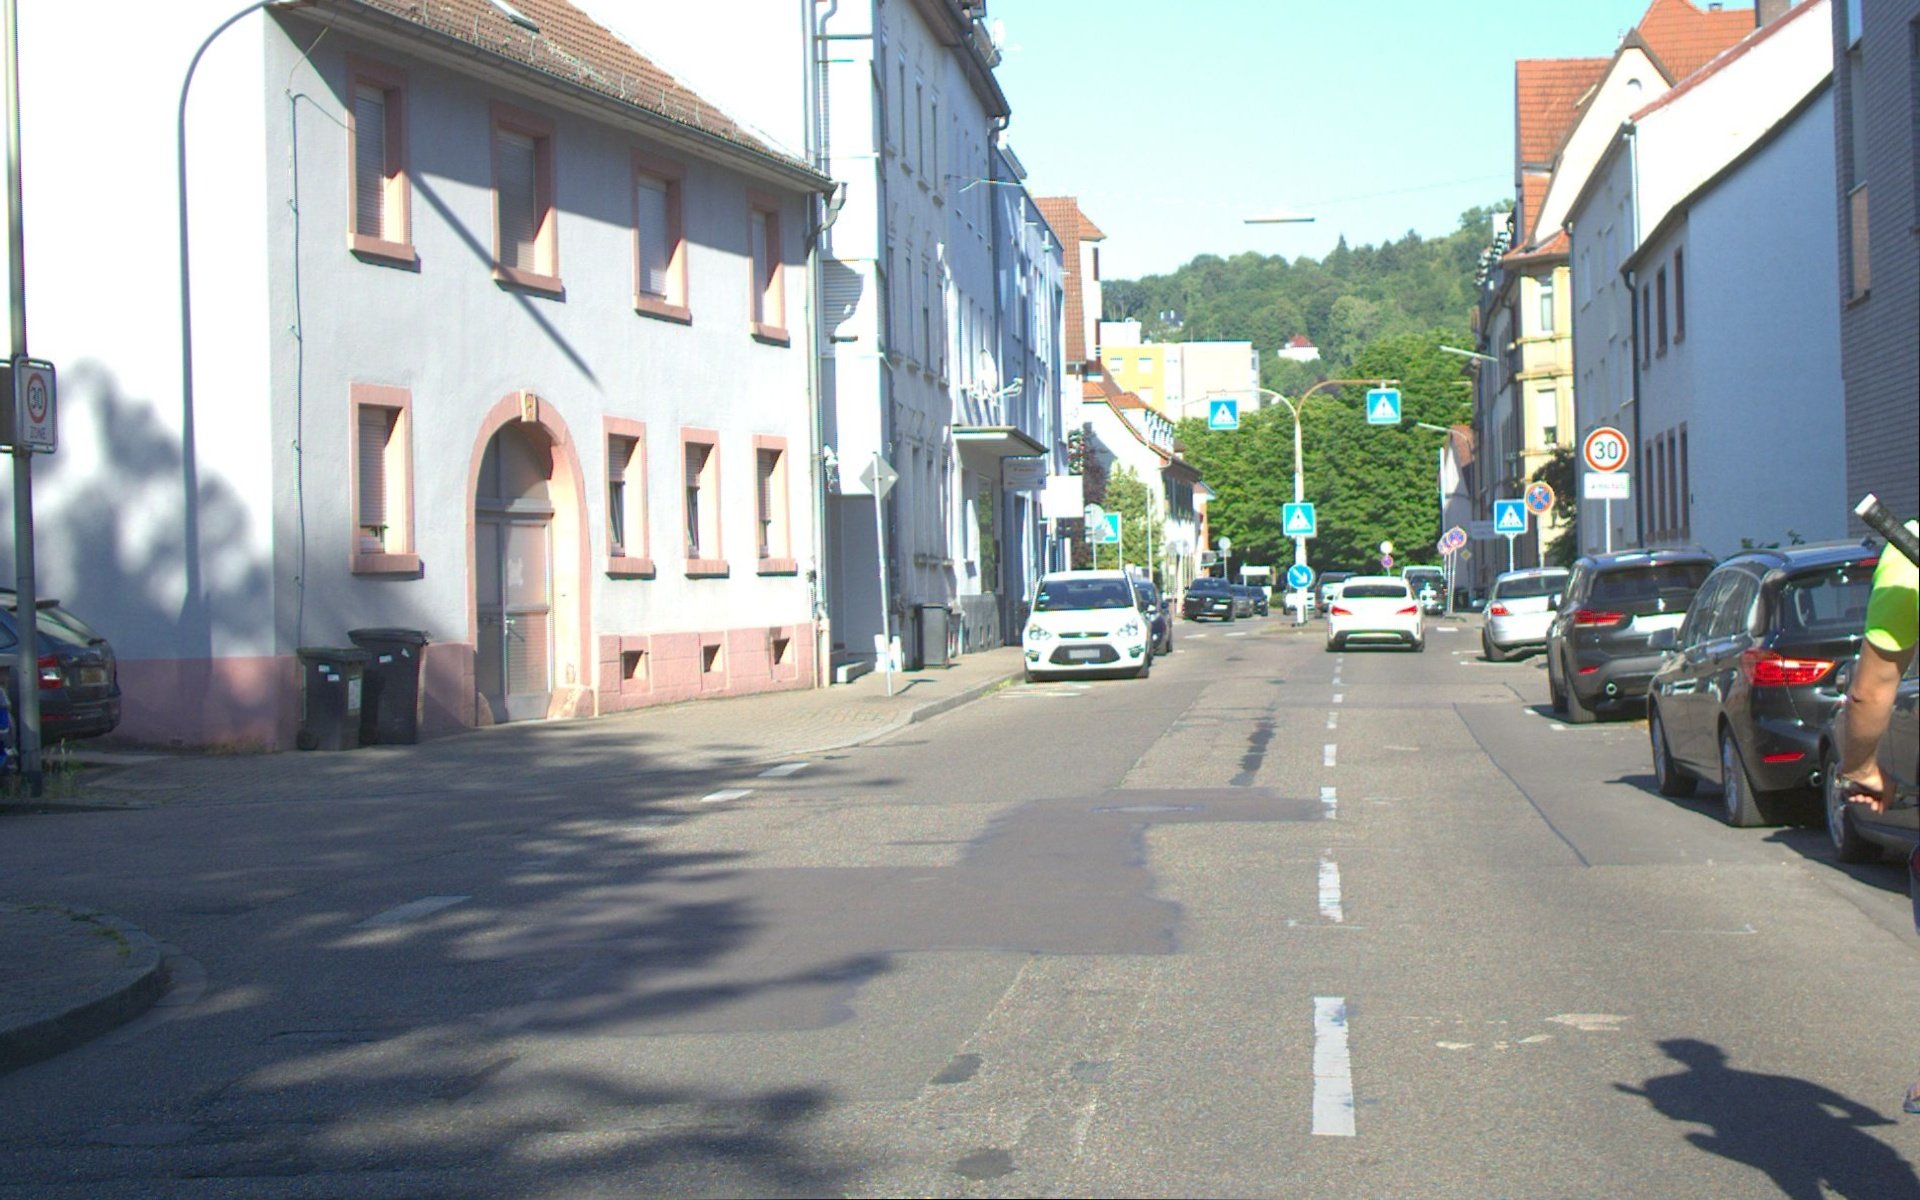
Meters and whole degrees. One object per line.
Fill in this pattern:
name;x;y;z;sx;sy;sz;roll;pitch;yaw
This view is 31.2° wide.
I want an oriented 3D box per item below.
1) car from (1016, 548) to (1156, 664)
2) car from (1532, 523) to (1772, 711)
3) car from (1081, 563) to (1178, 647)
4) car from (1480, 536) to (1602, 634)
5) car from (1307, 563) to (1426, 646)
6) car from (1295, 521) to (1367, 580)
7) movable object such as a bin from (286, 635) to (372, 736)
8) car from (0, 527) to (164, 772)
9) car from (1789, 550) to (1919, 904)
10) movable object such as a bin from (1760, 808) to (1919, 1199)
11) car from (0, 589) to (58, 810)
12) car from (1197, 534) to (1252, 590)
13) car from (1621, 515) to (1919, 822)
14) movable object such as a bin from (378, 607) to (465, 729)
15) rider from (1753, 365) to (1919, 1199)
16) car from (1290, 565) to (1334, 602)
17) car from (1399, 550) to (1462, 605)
car;1.956;0.047;52.132;1.994;1.642;5.221;-1;1;3
car;6.805;0.106;34.209;1.855;1.630;4.622;-4;1;7
car;3.418;0.074;68.608;1.731;1.494;3.959;-2;2;5
car;9.662;-0.274;57.417;1.742;1.487;4.438;-3;1;7
car;7.649;0.059;65.012;1.994;1.461;4.000;-2;1;4
car;13.250;-1.756;122.899;1.993;2.007;4.000;-2;1;-1
movable object such as a bin;-5.625;0.757;30.664;0.598;0.869;0.606;-1;1;4
car;-8.974;0.310;28.095;4.364;1.788;1.988;2;4;7
car;5.285;0.525;16.255;1.994;1.500;4.366;-1;1;5
movable object such as a bin;1.894;0.959;6.461;0.454;1.029;1.840;2;0;4
car;-8.611;0.777;24.361;3.768;1.525;2.000;-2;1;7
car;9.884;-1.432;128.548;1.994;2.007;4.000;-1;1;4
car;5.452;0.322;21.371;1.994;1.647;4.762;-1;1;3
movable object such as a bin;-4.921;0.613;31.433;0.599;1.090;0.751;0;1;6
rider;1.893;0.395;6.300;0.653;1.556;1.083;2;-1;4
car;17.297;-0.814;168.996;1.807;1.696;4.192;-3;1;2
car;16.580;-0.811;121.189;2.011;1.846;4.000;0;1;5
